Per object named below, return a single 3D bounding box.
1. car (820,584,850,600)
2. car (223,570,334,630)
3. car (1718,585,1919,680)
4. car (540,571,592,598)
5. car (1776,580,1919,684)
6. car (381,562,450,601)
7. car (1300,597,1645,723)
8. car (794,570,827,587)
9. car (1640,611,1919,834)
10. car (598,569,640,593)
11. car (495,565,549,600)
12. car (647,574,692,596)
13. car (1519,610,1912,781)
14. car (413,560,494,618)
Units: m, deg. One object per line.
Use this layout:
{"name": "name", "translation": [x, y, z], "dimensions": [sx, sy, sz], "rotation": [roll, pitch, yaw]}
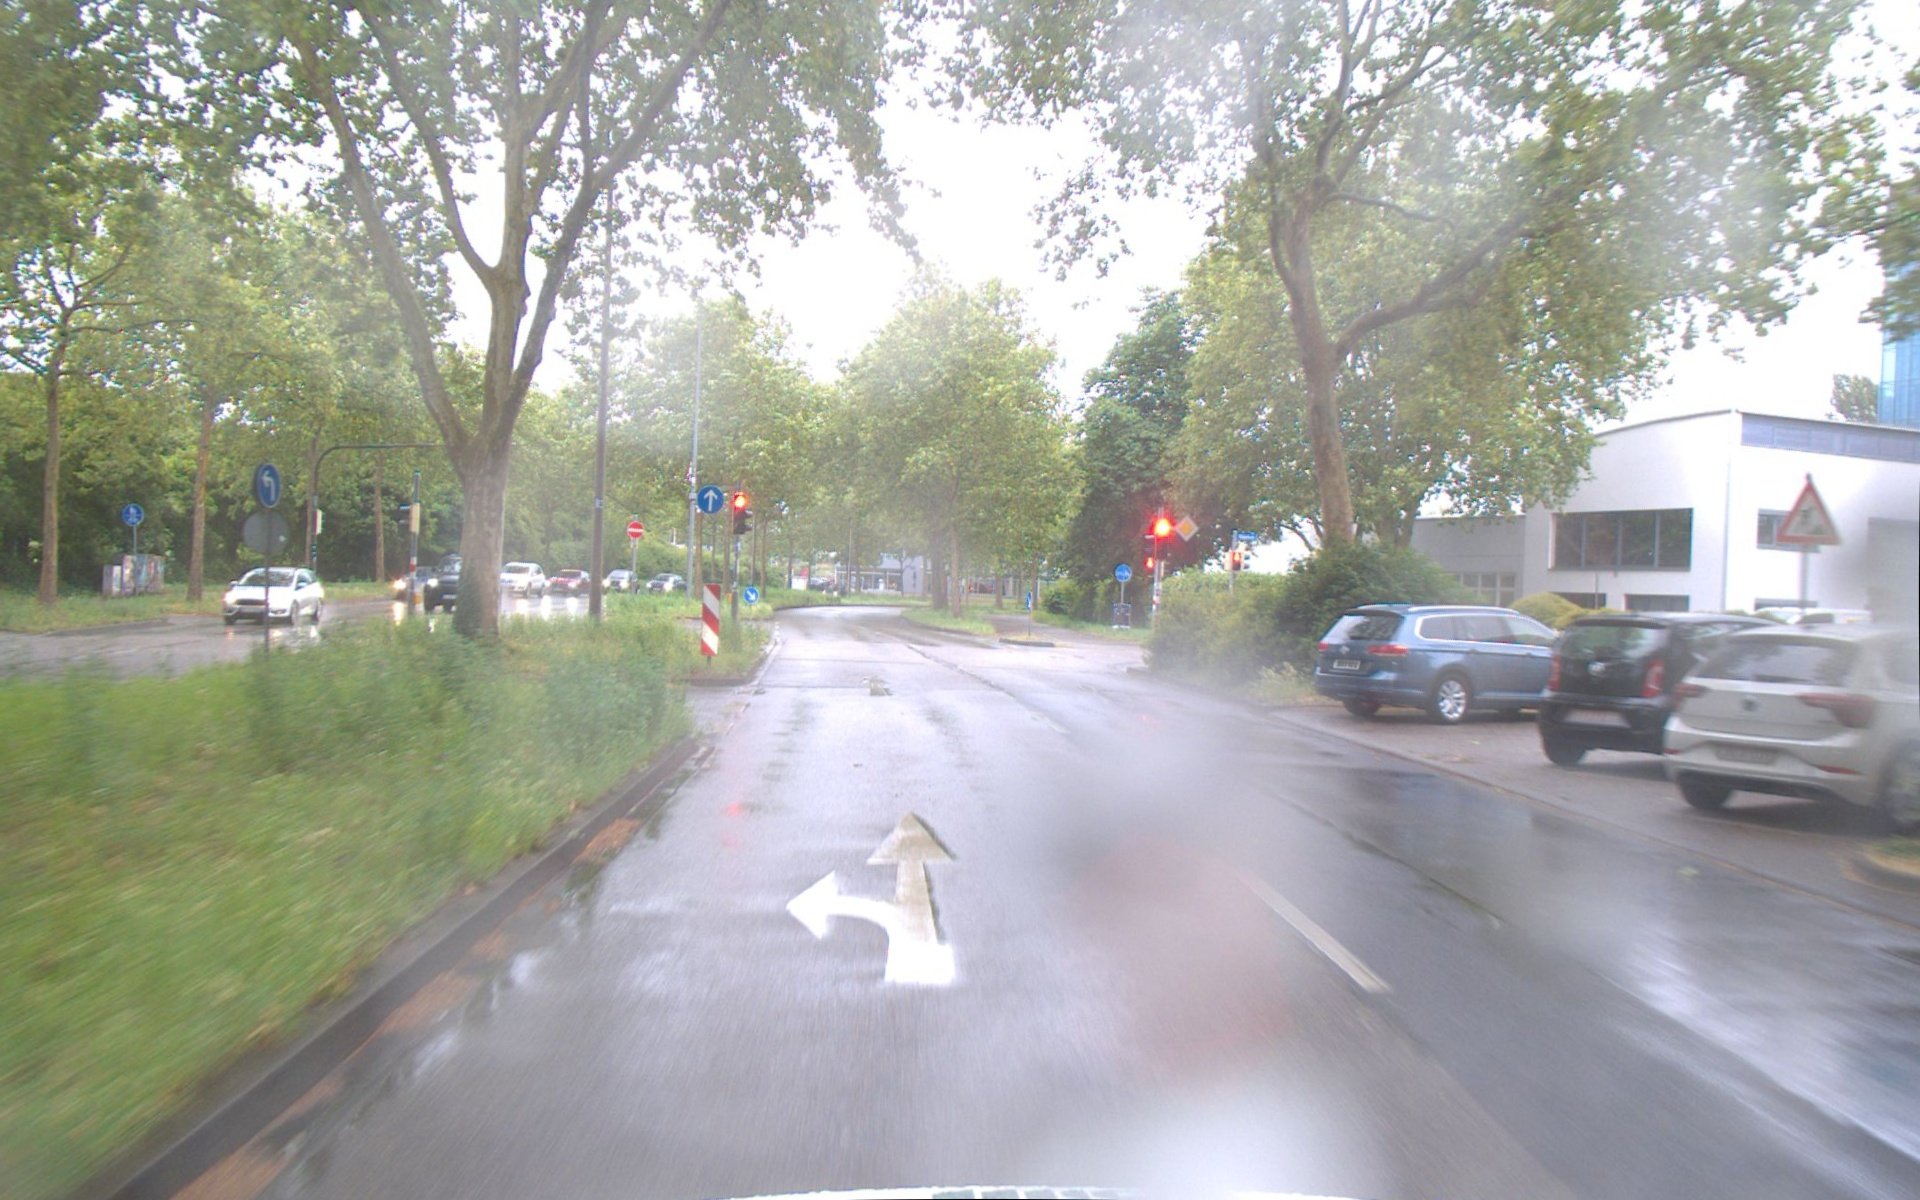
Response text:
{"name": "car", "translation": [-10.989, -0.724, 145.338], "dimensions": [1.553, 1.396, 4.266], "rotation": [1, 1, 10]}
{"name": "car", "translation": [-18.459, -0.027, 44.991], "dimensions": [1.710, 1.502, 4.228], "rotation": [1, 1, -7]}
{"name": "car", "translation": [17.703, 0.641, 32.976], "dimensions": [4.452, 1.788, 1.778], "rotation": [1, 0, -8]}
{"name": "car", "translation": [-21.630, -0.869, 90.938], "dimensions": [1.707, 1.432, 4.445], "rotation": [1, 1, 1]}
{"name": "car", "translation": [17.416, 0.584, 29.964], "dimensions": [4.449, 1.788, 1.747], "rotation": [1, 0, -6]}
{"name": "car", "translation": [-22.344, -0.771, 68.002], "dimensions": [1.709, 1.502, 4.231], "rotation": [1, 1, -5]}
{"name": "car", "translation": [6.792, 0.759, 21.832], "dimensions": [4.429, 1.484, 1.734], "rotation": [1, 1, -28]}
{"name": "car", "translation": [-19.298, -2.733, 213.494], "dimensions": [3.920, 2.049, 1.993], "rotation": [2, -1, -14]}
{"name": "car", "translation": [7.179, 0.848, 12.783], "dimensions": [3.644, 1.441, 1.757], "rotation": [1, 1, -32]}
{"name": "car", "translation": [-20.885, -1.185, 101.369], "dimensions": [1.553, 1.396, 3.336], "rotation": [1, 1, 6]}
{"name": "car", "translation": [-21.556, -0.860, 81.591], "dimensions": [1.709, 1.660, 4.441], "rotation": [1, 1, -4]}
{"name": "car", "translation": [-19.320, -0.995, 110.149], "dimensions": [1.553, 1.396, 4.266], "rotation": [1, 1, 10]}
{"name": "car", "translation": [7.365, 0.858, 16.064], "dimensions": [3.644, 1.441, 1.731], "rotation": [1, 1, -31]}
{"name": "car", "translation": [-17.410, -0.394, 57.095], "dimensions": [1.710, 1.874, 5.113], "rotation": [1, 1, -7]}
